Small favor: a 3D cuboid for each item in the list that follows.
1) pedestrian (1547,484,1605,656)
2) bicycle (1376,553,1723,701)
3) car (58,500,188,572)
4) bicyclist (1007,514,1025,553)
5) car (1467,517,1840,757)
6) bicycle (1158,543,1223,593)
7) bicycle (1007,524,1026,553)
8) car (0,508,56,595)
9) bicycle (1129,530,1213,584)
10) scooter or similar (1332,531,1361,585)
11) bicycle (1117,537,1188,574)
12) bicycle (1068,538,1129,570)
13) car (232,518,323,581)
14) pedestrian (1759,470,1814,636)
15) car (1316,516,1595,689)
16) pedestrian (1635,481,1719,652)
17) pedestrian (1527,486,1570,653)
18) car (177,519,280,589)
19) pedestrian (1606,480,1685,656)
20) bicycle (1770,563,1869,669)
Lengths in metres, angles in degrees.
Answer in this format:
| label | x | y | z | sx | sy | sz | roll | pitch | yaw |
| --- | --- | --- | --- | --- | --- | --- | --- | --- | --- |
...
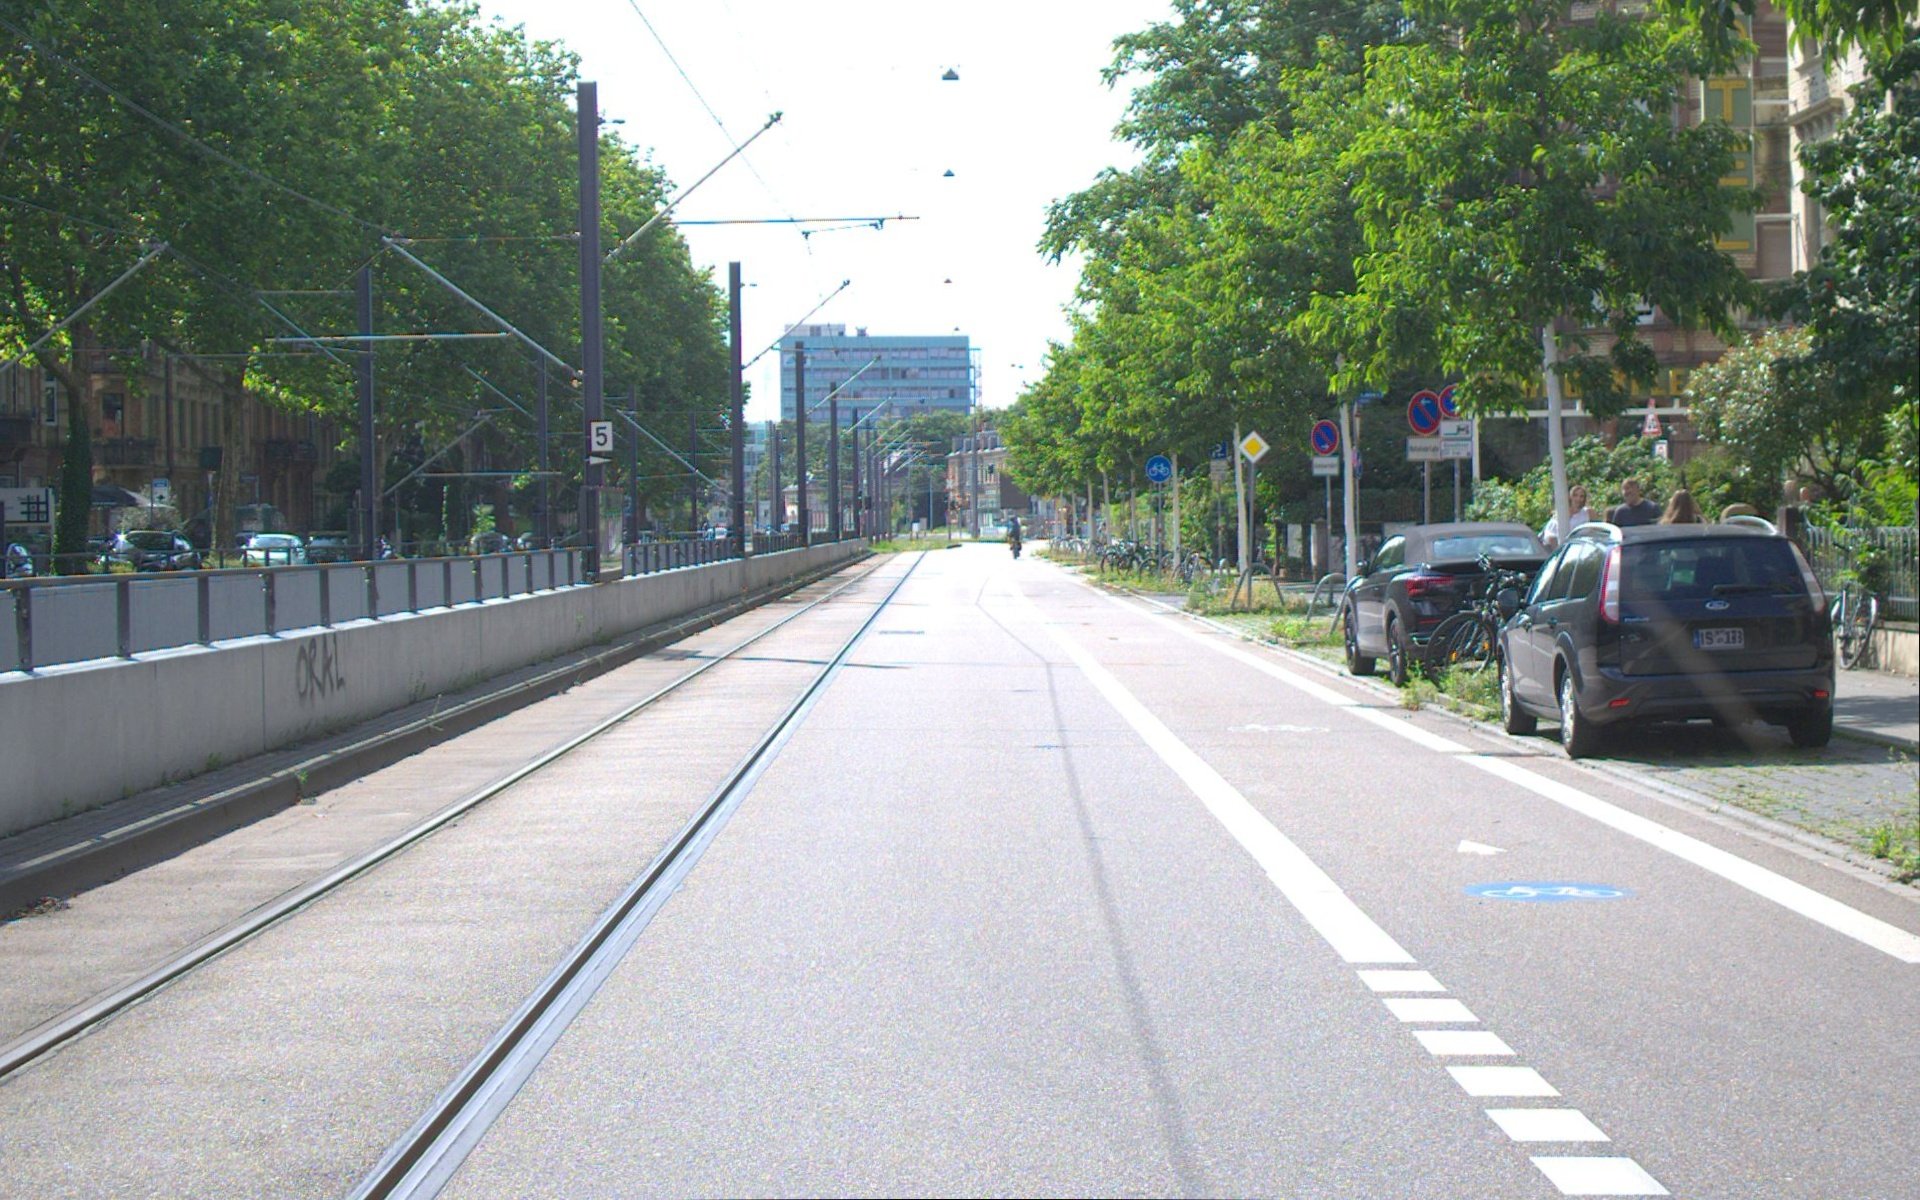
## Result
| label | x | y | z | sx | sy | sz | roll | pitch | yaw |
| --- | --- | --- | --- | --- | --- | --- | --- | --- | --- |
| pedestrian | 6.554 | -0.319 | 36.584 | 0.459 | 1.798 | 0.319 | -3 | 1 | -1 |
| bicycle | 5.243 | 0.222 | 30.591 | 2.945 | 1.242 | 0.793 | -1 | 1 | -12 |
| car | -20.559 | -1.600 | 84.613 | 1.994 | 1.631 | 4.000 | -3 | 2 | 2 |
| bicyclist | 2.506 | -2.941 | 153.031 | 0.770 | 1.724 | 1.026 | -1 | 1 | 1 |
| car | 4.731 | 0.182 | 24.091 | 1.686 | 1.497 | 4.708 | -1 | 1 | 1 |
| bicycle | 5.032 | -0.698 | 75.056 | 0.649 | 1.035 | 1.822 | -4 | 2 | -21 |
| bicycle | 2.507 | -2.746 | 153.089 | 0.799 | 1.232 | 2.778 | -1 | 1 | 1 |
| car | -19.859 | -0.955 | 69.605 | 1.718 | 1.685 | 3.729 | -2 | 2 | 6 |
| bicycle | 4.922 | -1.005 | 80.227 | 1.815 | 1.141 | 0.652 | -3 | 2 | -11 |
| scooter or similar | 8.577 | -0.935 | 76.334 | 0.461 | 1.154 | 1.573 | -2 | 1 | 1 |
| bicycle | 5.200 | -1.204 | 92.867 | 1.816 | 0.899 | 0.652 | -3 | 2 | -3 |
| bicycle | 4.389 | -1.460 | 109.054 | 1.816 | 0.899 | 0.604 | -3 | 2 | -3 |
| car | -20.371 | -1.525 | 102.809 | 1.839 | 1.722 | 4.000 | -3 | 2 | 0 |
| pedestrian | 8.628 | -0.494 | 35.879 | 0.384 | 1.701 | 0.431 | -3 | 1 | 0 |
| car | 4.828 | -0.035 | 34.108 | 1.798 | 1.521 | 4.490 | -3 | 2 | -4 |
| pedestrian | 7.179 | -0.334 | 34.438 | 0.528 | 1.670 | 0.575 | -4 | 1 | -18 |
| pedestrian | 6.099 | -0.323 | 35.623 | 0.318 | 1.701 | 0.460 | -3 | 1 | 14 |
| car | -19.718 | -1.270 | 92.795 | 1.839 | 1.722 | 4.000 | -3 | 2 | 0 |
| pedestrian | 7.188 | -0.336 | 36.050 | 0.669 | 1.798 | 0.319 | -3 | 1 | -1 |
| bicycle | 8.105 | 0.137 | 32.459 | 0.427 | 0.936 | 1.807 | -4 | 1 | 0 |
